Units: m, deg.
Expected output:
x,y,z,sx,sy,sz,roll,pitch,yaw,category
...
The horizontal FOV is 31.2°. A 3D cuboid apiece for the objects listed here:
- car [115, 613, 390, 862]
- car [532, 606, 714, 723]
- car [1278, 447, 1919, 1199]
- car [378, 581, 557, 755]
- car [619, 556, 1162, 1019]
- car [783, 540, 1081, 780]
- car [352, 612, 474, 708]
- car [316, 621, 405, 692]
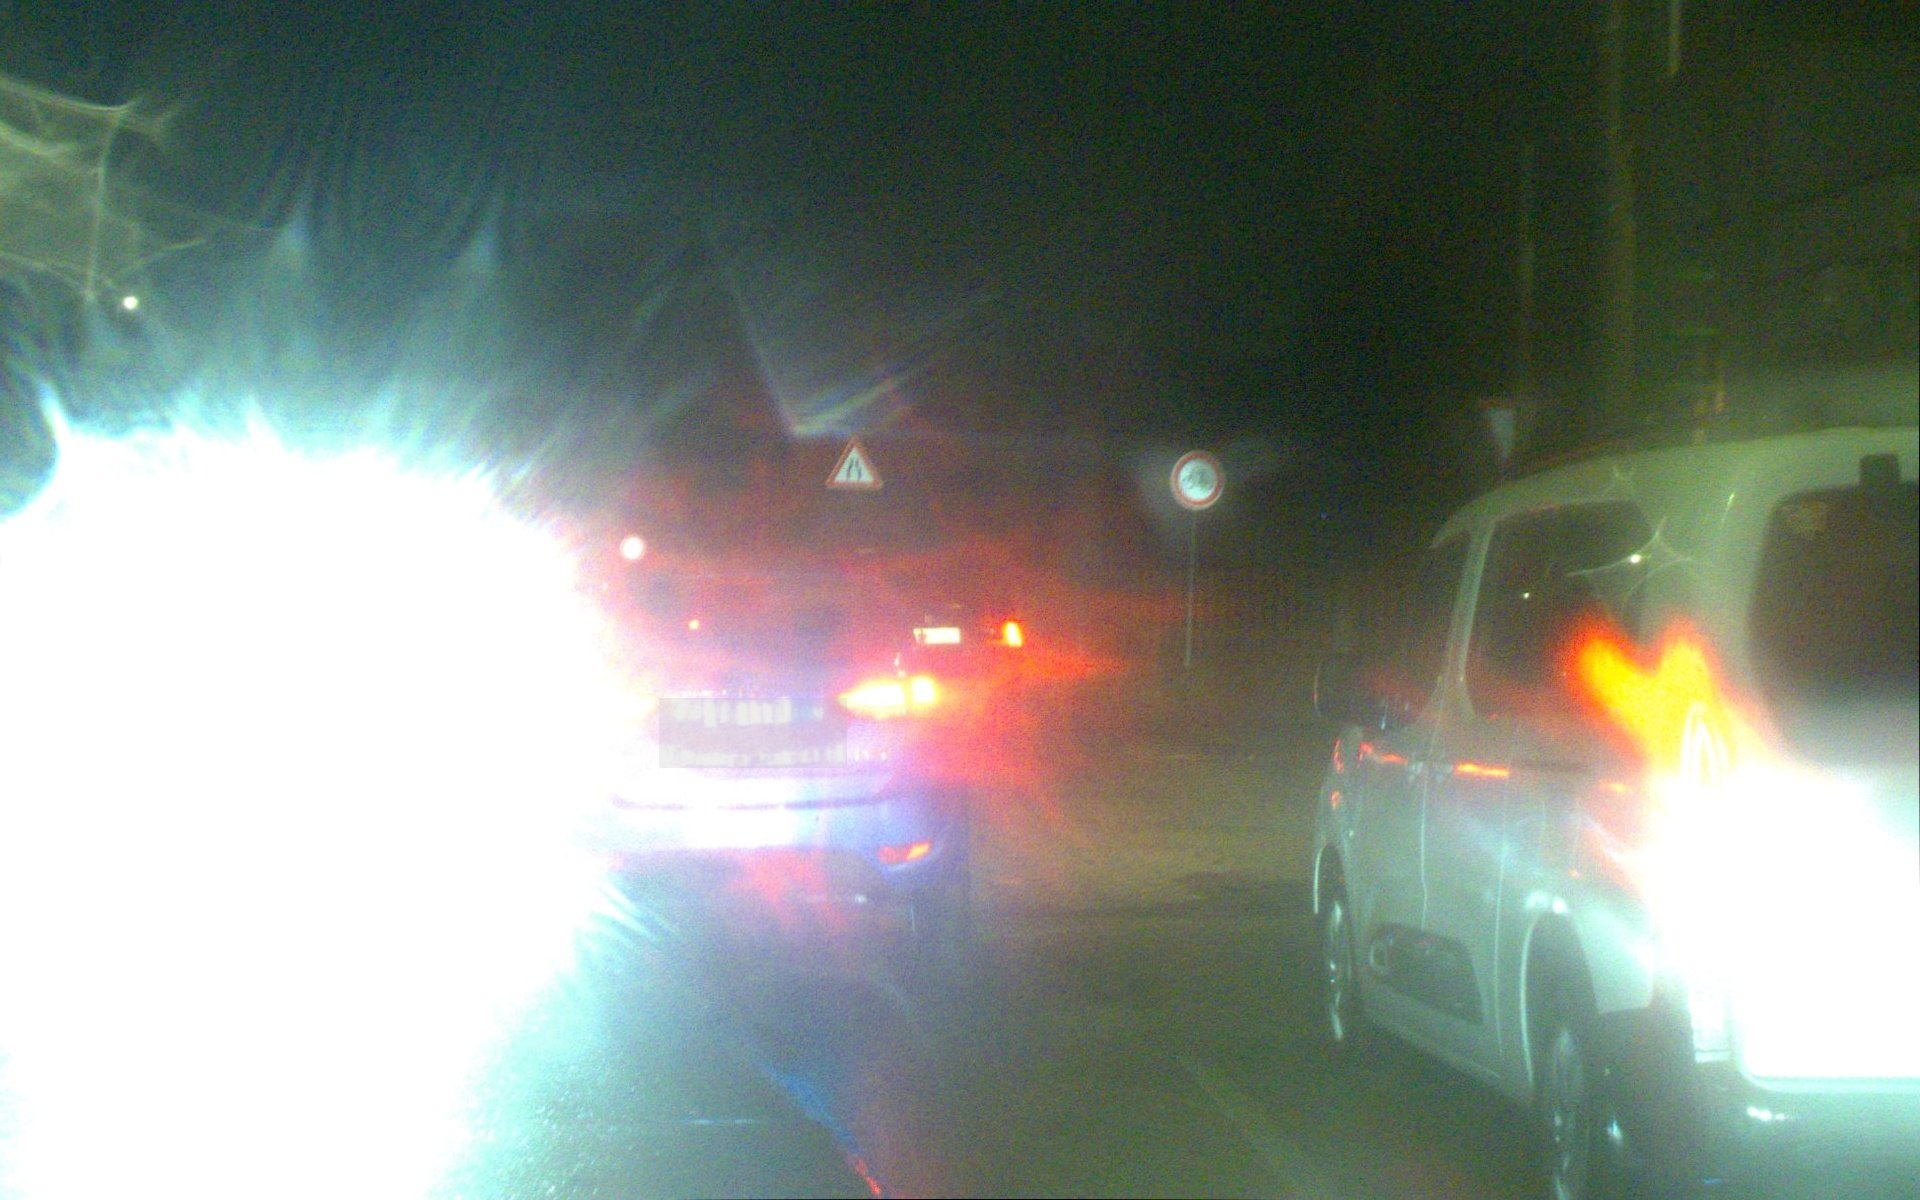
x,y,z,sx,sy,sz,roll,pitch,yaw,category
-5.916,1.067,28.387,2.014,1.881,4.453,1,-1,-14,car
-5.228,0.968,52.912,1.993,1.712,4.001,1,-1,-17,car
2.056,0.675,8.692,1.851,1.859,4.341,1,-1,-3,car
-6.091,0.819,42.201,1.993,2.007,4.001,1,-1,-10,car
-0.343,0.728,15.157,2.014,1.711,4.452,1,-1,-2,car
-0.332,0.538,31.585,1.968,2.040,4.001,1,-1,-12,car
-10.346,1.110,64.801,1.993,1.726,4.001,1,-1,-13,car
-15.264,1.416,87.390,1.993,1.726,4.001,1,-1,-13,car
